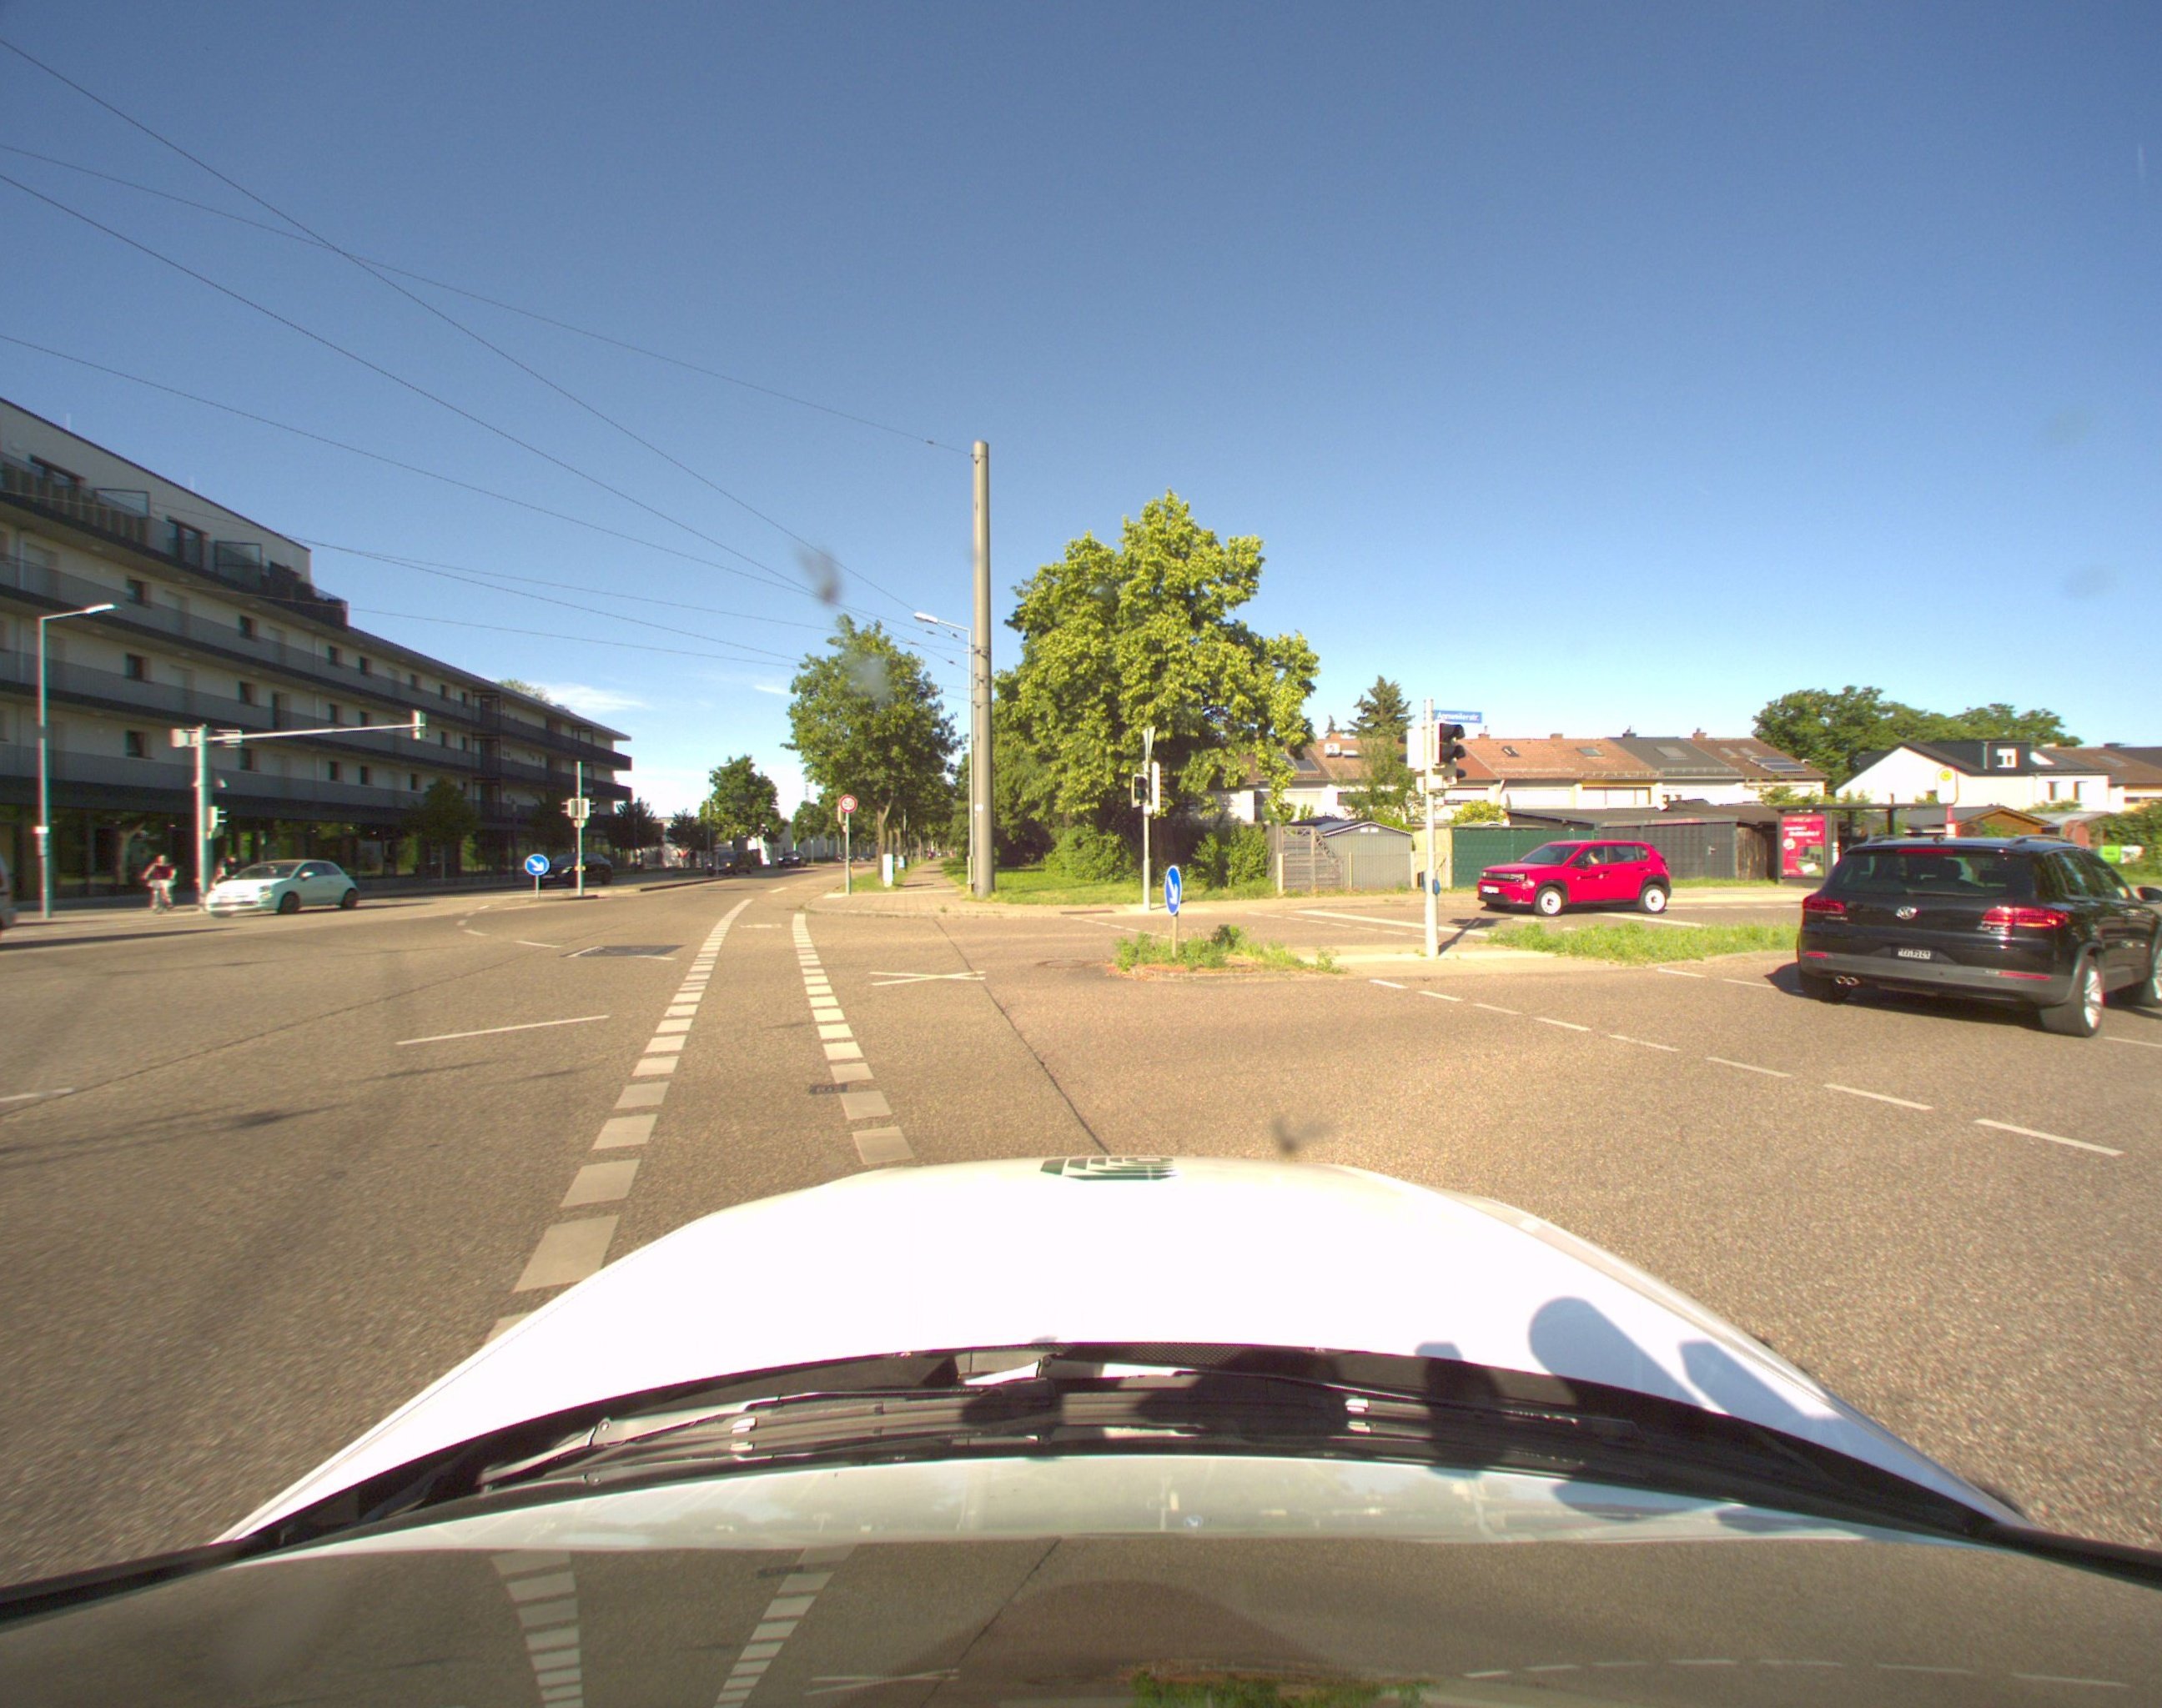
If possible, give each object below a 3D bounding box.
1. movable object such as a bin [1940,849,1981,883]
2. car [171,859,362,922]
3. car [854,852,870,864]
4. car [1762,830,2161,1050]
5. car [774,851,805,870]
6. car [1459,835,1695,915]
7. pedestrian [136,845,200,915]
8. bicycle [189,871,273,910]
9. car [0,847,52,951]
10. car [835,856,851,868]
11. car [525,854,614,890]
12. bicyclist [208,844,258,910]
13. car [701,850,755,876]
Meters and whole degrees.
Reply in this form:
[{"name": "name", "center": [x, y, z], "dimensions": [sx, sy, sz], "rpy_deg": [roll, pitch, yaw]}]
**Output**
[{"name": "movable object such as a bin", "center": [26.425, 0.351, 24.484], "dimensions": [0.556, 0.967, 0.593], "rpy_deg": [-1, 4, -9]}, {"name": "car", "center": [-22.392, 0.939, 22.610], "dimensions": [1.993, 1.487, 3.532], "rpy_deg": [-3, 1, -10]}, {"name": "car", "center": [-33.743, 0.596, 125.579], "dimensions": [1.894, 1.758, 3.989], "rpy_deg": [1, 0, -8]}, {"name": "car", "center": [9.029, 0.596, 8.121], "dimensions": [4.526, 1.654, 1.918], "rpy_deg": [-1, 2, -29]}, {"name": "car", "center": [-28.015, 0.629, 78.376], "dimensions": [1.994, 1.737, 5.179], "rpy_deg": [-1, 0, -11]}, {"name": "car", "center": [10.741, 0.409, 17.787], "dimensions": [4.166, 1.588, 1.940], "rpy_deg": [-1, 1, -9]}, {"name": "pedestrian", "center": [-27.097, 0.750, 24.190], "dimensions": [0.979, 2.013, 0.756], "rpy_deg": [-1, 0, -16]}, {"name": "bicycle", "center": [-26.739, 1.132, 25.651], "dimensions": [1.644, 1.144, 0.739], "rpy_deg": [-1, 0, -23]}, {"name": "car", "center": [-18.982, 0.779, 12.261], "dimensions": [1.995, 1.755, 4.343], "rpy_deg": [-1, 0, -12]}, {"name": "car", "center": [-32.269, 1.090, 110.285], "dimensions": [1.679, 1.534, 3.985], "rpy_deg": [-1, 0, -11]}, {"name": "car", "center": [-24.338, 0.812, 38.955], "dimensions": [1.968, 1.534, 4.722], "rpy_deg": [-1, 0, -11]}, {"name": "bicyclist", "center": [-26.714, 0.709, 25.665], "dimensions": [0.795, 2.013, 0.805], "rpy_deg": [-1, 0, -22]}, {"name": "car", "center": [-22.956, 0.574, 53.090], "dimensions": [1.990, 1.571, 3.993], "rpy_deg": [-1, 0, -5]}]
